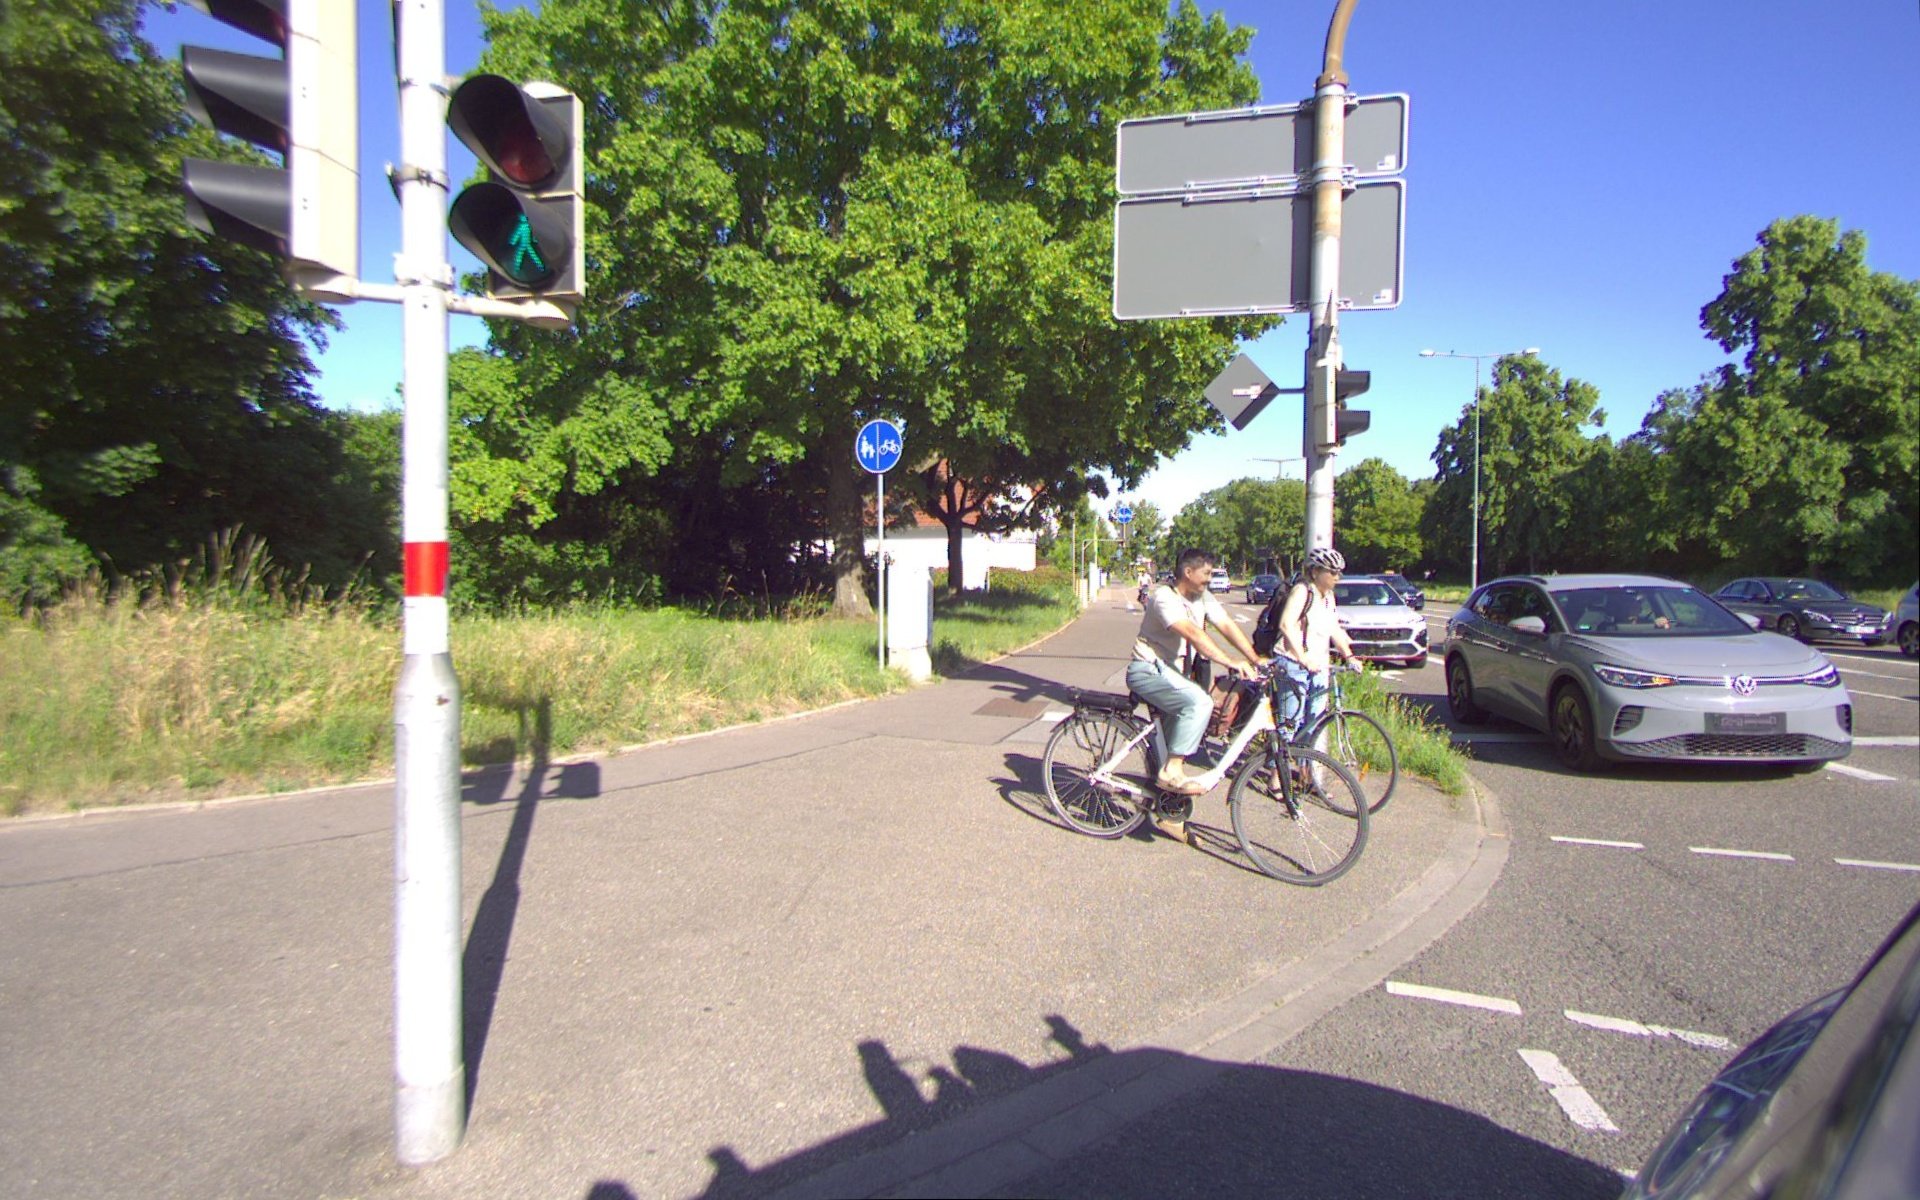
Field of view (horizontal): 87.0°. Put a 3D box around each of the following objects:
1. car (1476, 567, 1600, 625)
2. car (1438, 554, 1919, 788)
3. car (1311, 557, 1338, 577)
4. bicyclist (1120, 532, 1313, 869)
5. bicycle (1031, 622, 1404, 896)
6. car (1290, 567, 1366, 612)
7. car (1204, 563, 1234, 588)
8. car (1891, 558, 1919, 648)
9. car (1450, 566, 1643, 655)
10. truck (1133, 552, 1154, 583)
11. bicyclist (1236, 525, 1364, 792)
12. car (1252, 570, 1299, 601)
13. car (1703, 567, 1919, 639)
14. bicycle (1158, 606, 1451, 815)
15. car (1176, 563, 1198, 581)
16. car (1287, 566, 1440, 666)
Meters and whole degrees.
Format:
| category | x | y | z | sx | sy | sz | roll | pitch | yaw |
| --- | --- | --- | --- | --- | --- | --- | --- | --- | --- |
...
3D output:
| category | x | y | z | sx | sy | sz | roll | pitch | yaw |
| --- | --- | --- | --- | --- | --- | --- | --- | --- | --- |
| car | 16.005 | -0.158 | 28.251 | 1.665 | 1.457 | 3.903 | -2 | 2 | 9 |
| car | 6.221 | 0.458 | 9.470 | 1.961 | 1.660 | 4.355 | -2 | 2 | 9 |
| car | 40.755 | -3.689 | 113.239 | 1.887 | 2.110 | 4.529 | -2 | 2 | 9 |
| bicyclist | 1.385 | 0.485 | 5.489 | 0.802 | 1.654 | 0.537 | 6 | 6 | 32 |
| bicycle | 1.344 | 0.776 | 5.526 | 1.858 | 1.089 | 0.525 | 6 | 6 | 33 |
| car | 13.426 | -0.424 | 37.160 | 1.890 | 1.504 | 4.353 | -2 | 2 | 11 |
| car | 19.798 | -1.889 | 77.548 | 1.770 | 1.820 | 3.903 | -2 | 2 | 9 |
| car | 17.717 | 0.110 | 16.341 | 1.849 | 1.594 | 4.234 | 0 | 2 | 9 |
| car | 11.312 | 0.119 | 19.902 | 1.890 | 1.504 | 4.353 | -2 | 2 | 11 |
| truck | 19.349 | -3.439 | 106.963 | 1.967 | 3.114 | 5.796 | -2 | 2 | 8 |
| bicyclist | 2.309 | 0.355 | 6.896 | 0.518 | 1.716 | 0.585 | -3 | 6 | -40 |
| car | 15.952 | -0.774 | 51.329 | 1.665 | 1.457 | 3.903 | -2 | 2 | 9 |
| car | 18.788 | -0.012 | 22.507 | 1.806 | 1.422 | 4.345 | 0 | 2 | 9 |
| bicycle | 2.282 | 0.672 | 6.952 | 0.522 | 1.089 | 1.869 | -3 | 6 | -40 |
| car | 23.508 | -2.926 | 104.882 | 1.811 | 1.820 | 3.903 | -2 | 2 | 9 |
| car | 7.247 | 0.195 | 18.587 | 1.665 | 1.592 | 4.112 | -2 | 2 | 9 |
